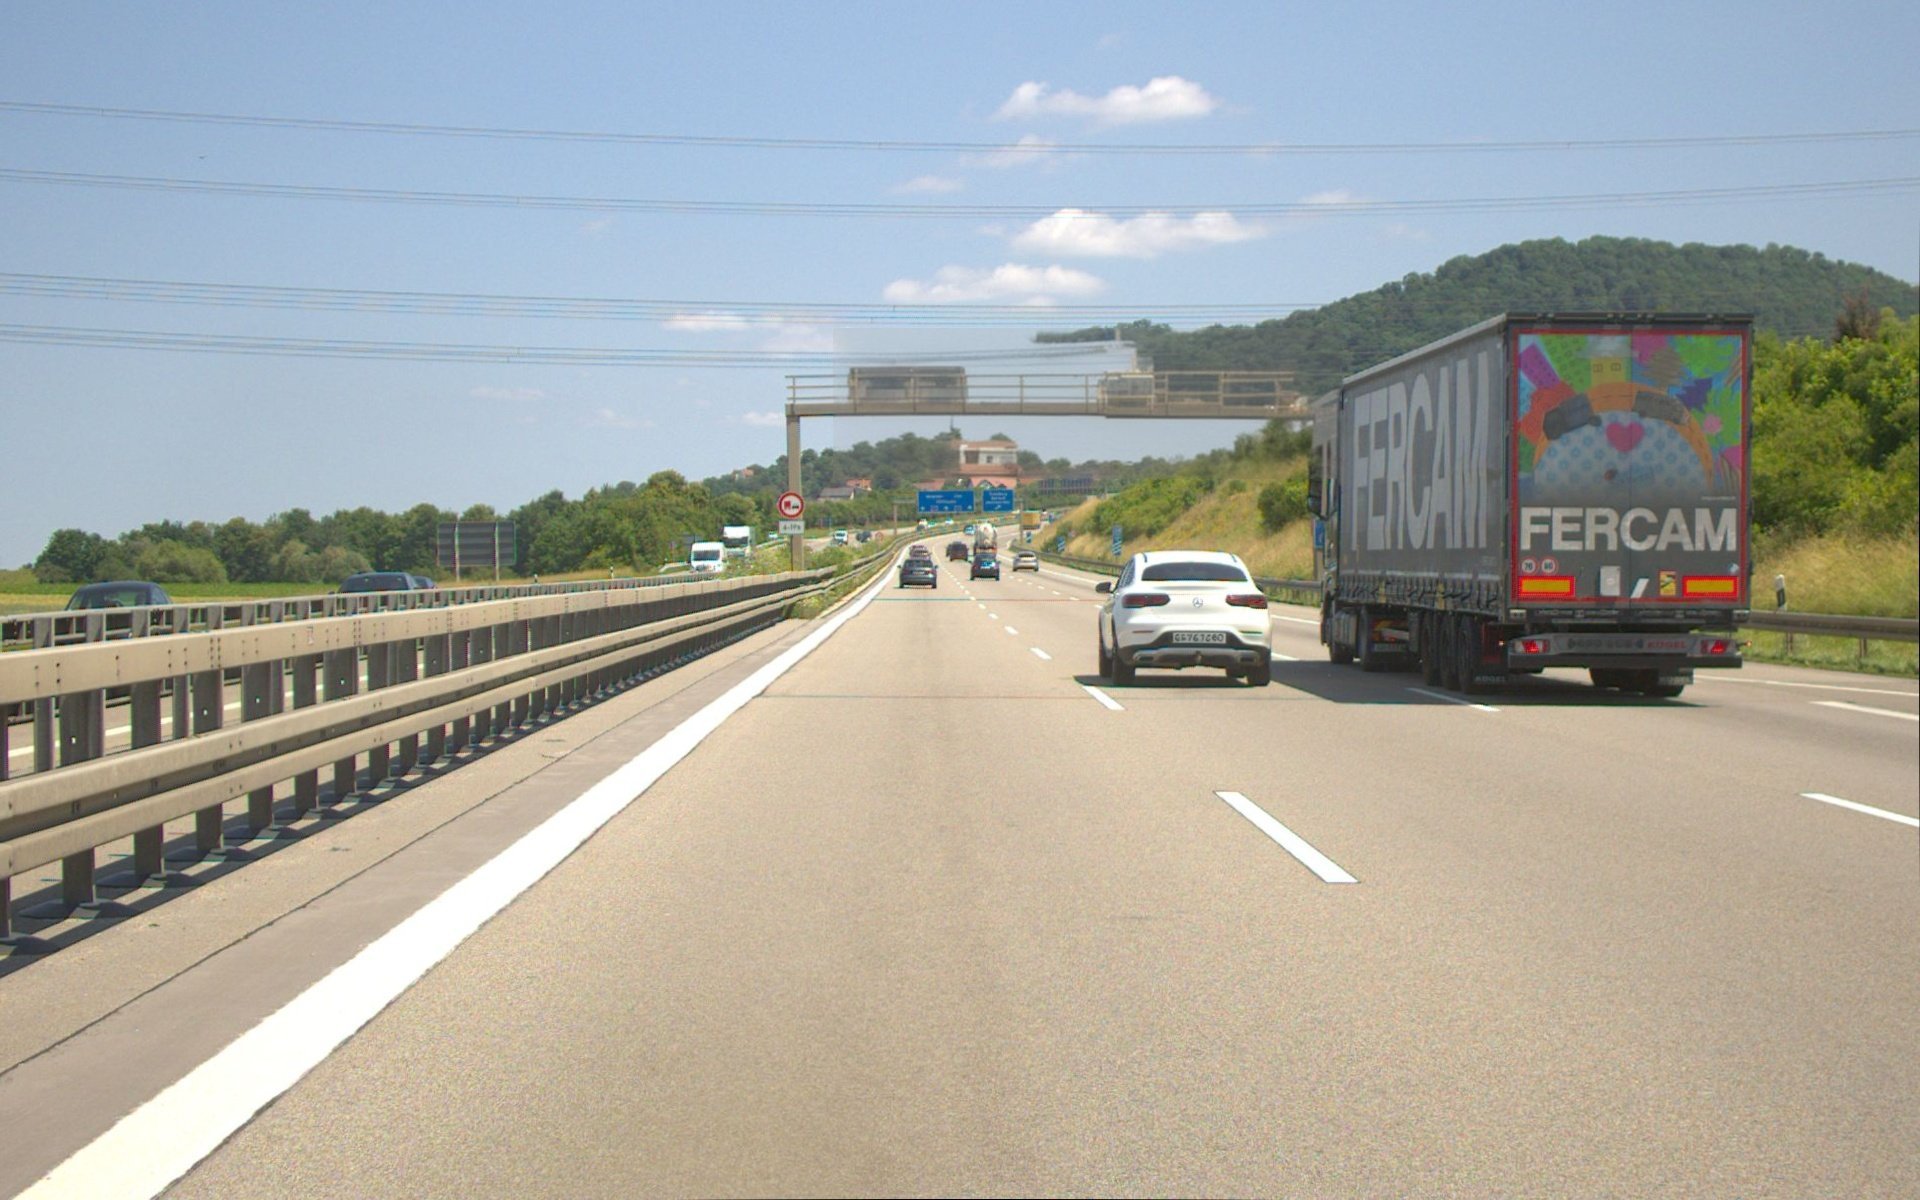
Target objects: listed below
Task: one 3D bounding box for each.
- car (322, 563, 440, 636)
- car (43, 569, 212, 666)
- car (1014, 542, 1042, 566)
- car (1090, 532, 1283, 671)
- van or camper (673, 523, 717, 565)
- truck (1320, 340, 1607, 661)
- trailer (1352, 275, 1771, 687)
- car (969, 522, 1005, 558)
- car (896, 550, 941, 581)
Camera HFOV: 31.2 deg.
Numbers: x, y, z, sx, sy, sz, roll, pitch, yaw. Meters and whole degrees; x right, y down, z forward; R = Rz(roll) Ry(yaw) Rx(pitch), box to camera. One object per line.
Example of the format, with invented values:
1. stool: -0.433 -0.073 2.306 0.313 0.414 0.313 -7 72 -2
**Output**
1. car: -12.650 -0.032 75.387 1.807 1.435 5.285 -3 1 -2
2. car: -13.511 0.276 56.024 1.671 1.435 4.566 -3 0 -1
3. car: 5.095 -3.453 257.562 1.993 1.812 4.000 -1 1 0
4. car: 2.712 -0.008 42.282 1.914 1.575 5.231 1 1 -1
5. van or camper: -16.200 -3.406 210.211 2.227 2.500 6.597 1 1 -1
6. truck: 6.708 -1.290 46.772 2.752 4.007 6.789 1 0 -1
7. trailer: 6.785 -1.267 40.849 2.725 4.140 11.809 1 1 -1
8. car: 1.530 -3.433 196.207 1.993 2.007 4.000 1 0 0
9. car: -1.870 -1.564 157.120 1.993 1.384 4.000 1 1 0
